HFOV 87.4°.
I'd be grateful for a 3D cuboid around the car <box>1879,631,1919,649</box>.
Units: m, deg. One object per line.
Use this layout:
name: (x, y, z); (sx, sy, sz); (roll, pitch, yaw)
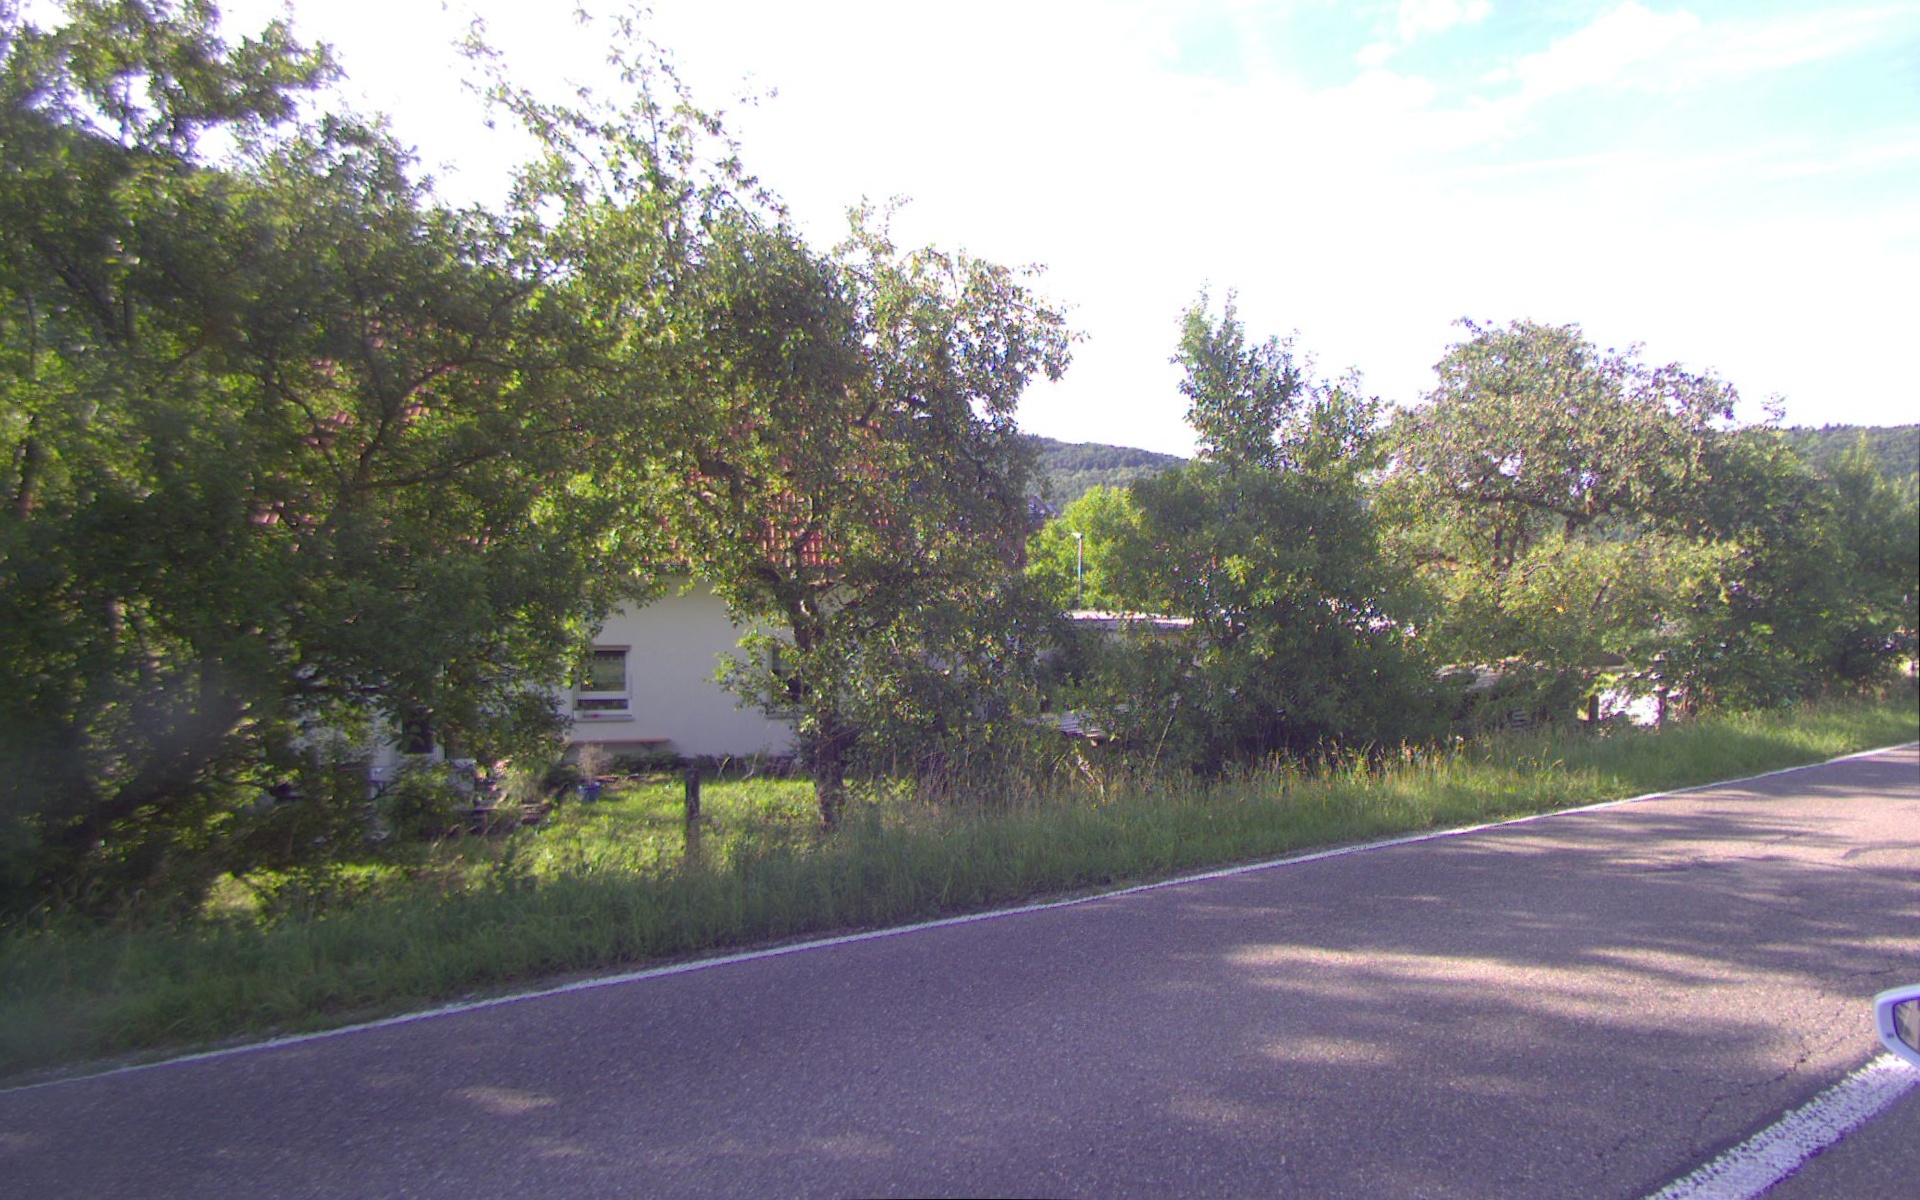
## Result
car: (91.374, 3.845, 96.647); (1.763, 1.574, 3.965); (2, 0, -32)
